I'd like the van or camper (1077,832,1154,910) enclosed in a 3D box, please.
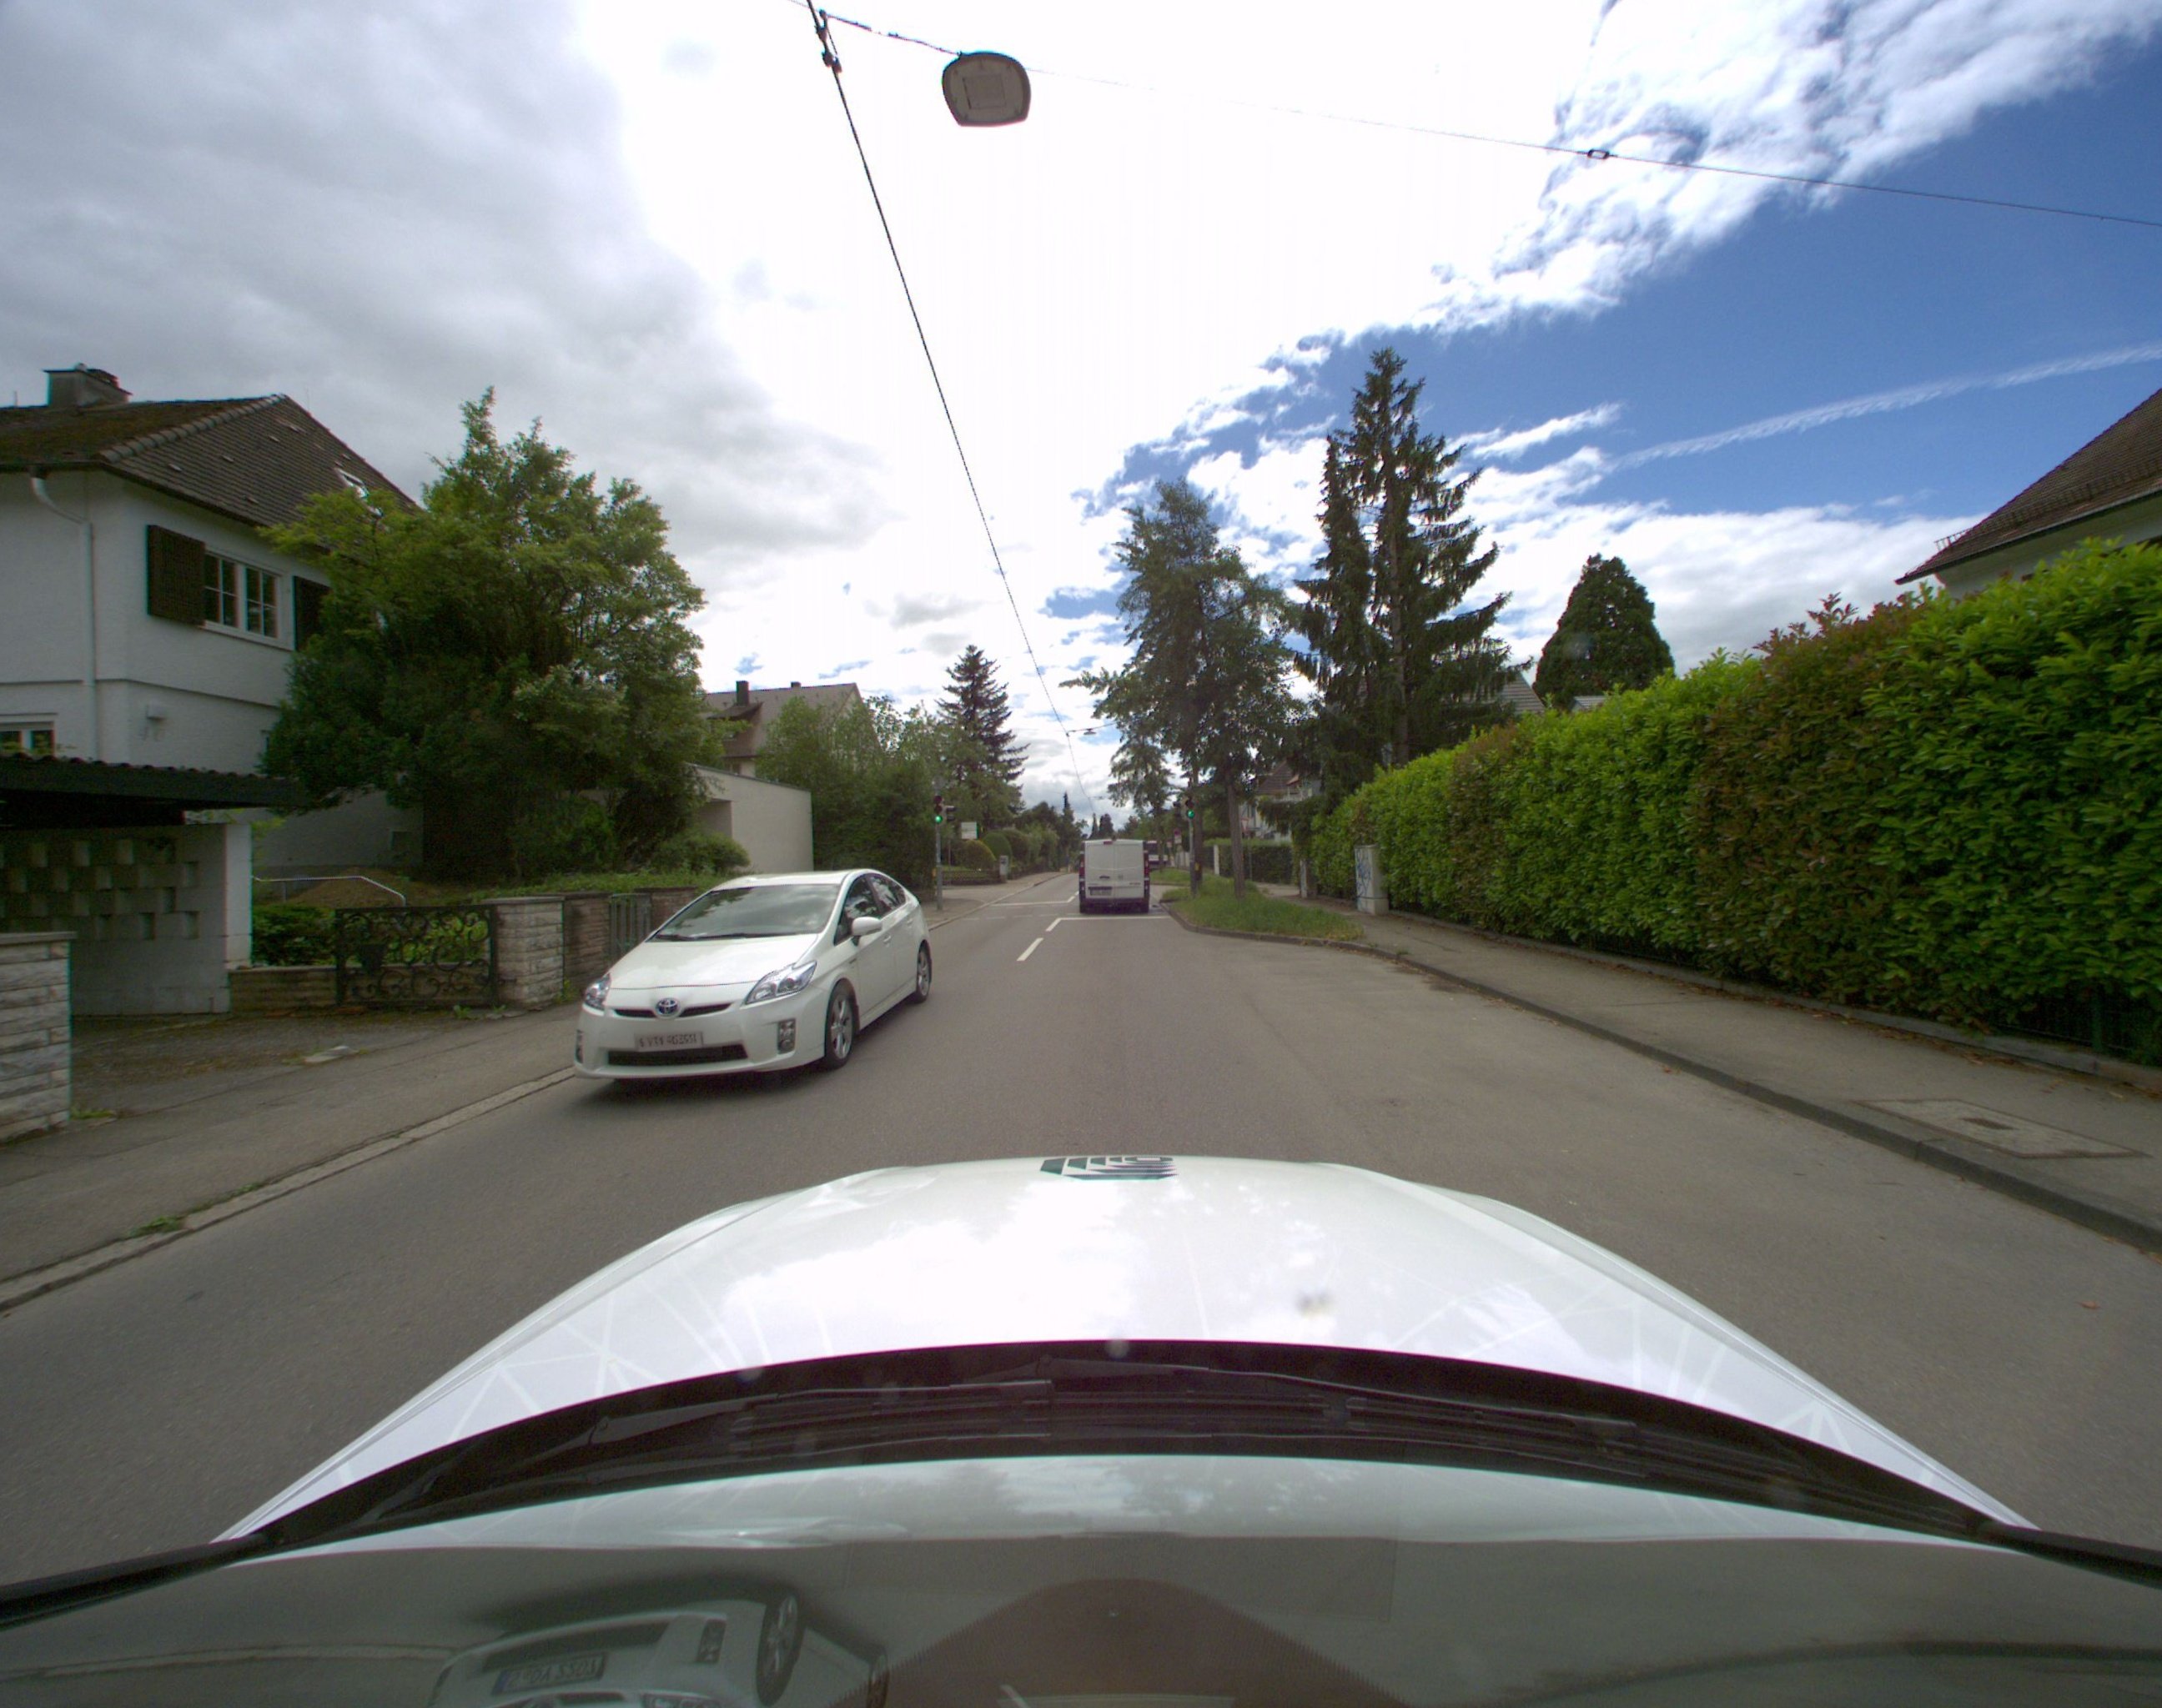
[{"bbox_3d":[0.948,0.482,22.953,1.932,1.954,4.766,-1,-1,2],"label":"van or camper"}]

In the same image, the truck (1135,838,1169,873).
[{"bbox_3d":[5.213,0.115,60.649,2.179,2.472,7.434,-1,0,2],"label":"truck"}]

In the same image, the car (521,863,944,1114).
[{"bbox_3d":[-2.603,0.892,7.383,1.848,1.451,4.282,-4,0,1],"label":"car"}]
